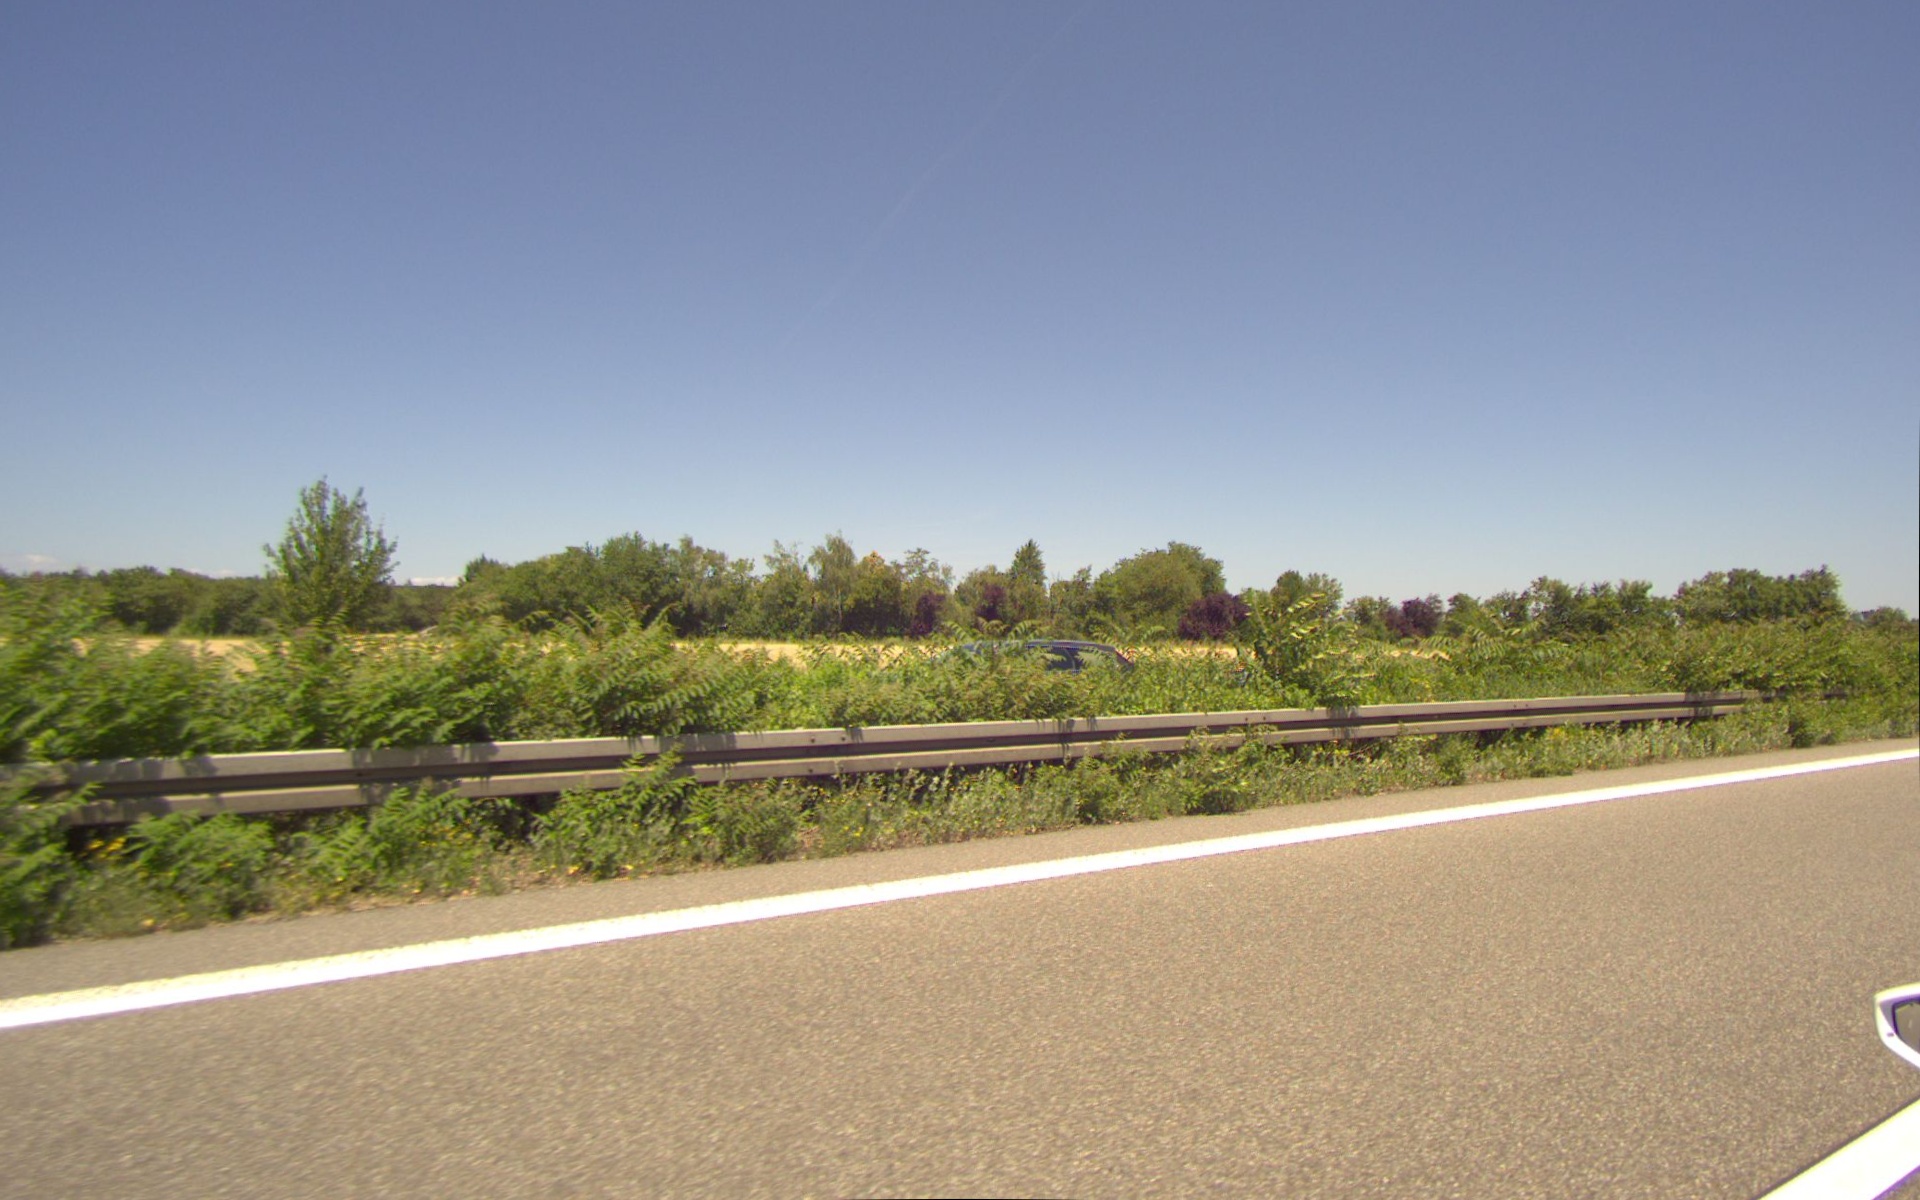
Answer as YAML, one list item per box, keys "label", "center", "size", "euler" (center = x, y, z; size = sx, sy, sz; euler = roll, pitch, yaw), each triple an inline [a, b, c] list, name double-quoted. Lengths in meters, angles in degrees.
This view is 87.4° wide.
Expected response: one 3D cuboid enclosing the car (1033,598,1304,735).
- label: "car"
  center: [3.299, 0.985, 15.766]
  size: [3.953, 1.903, 1.847]
  euler: [2, -1, -30]
